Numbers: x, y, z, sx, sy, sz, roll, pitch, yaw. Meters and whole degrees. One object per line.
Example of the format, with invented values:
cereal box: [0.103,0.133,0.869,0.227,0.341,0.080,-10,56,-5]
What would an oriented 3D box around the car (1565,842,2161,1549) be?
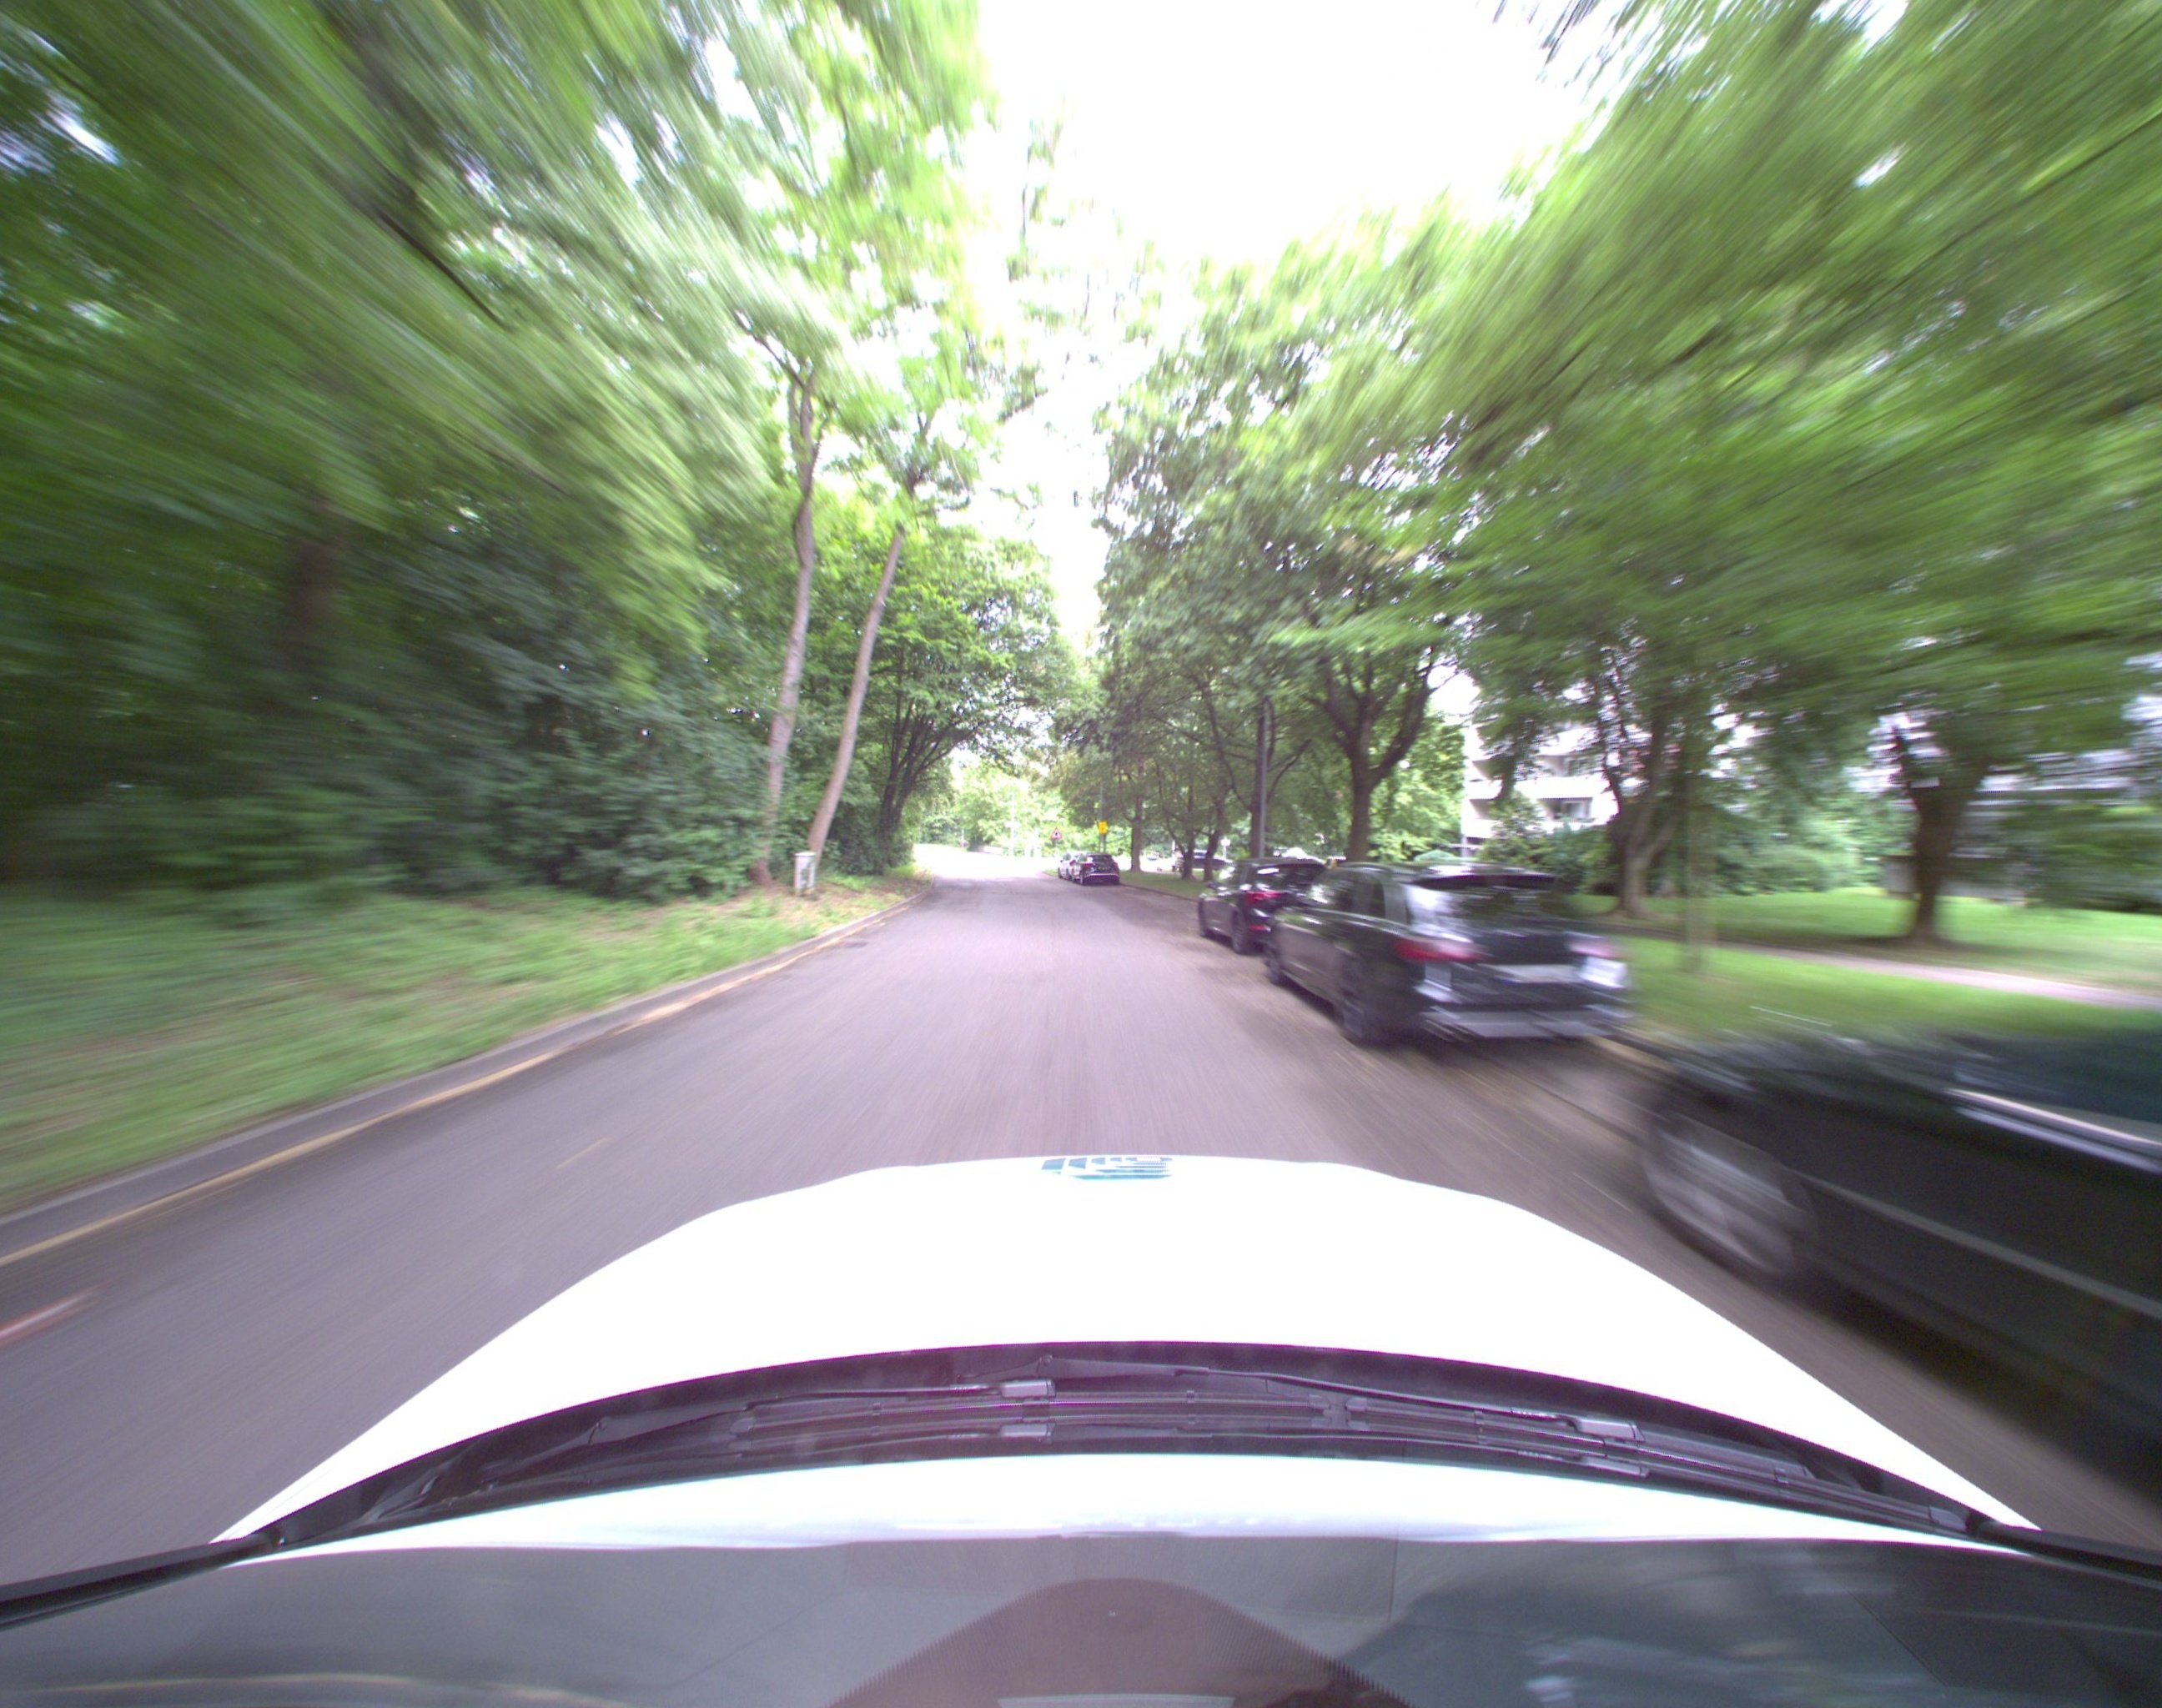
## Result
car: [3.122,0.748,1.604,1.585,1.465,4.312,-3,1,-3]

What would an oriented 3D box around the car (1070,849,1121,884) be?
car: [0.627,0.555,38.814,1.773,1.522,4.172,1,1,-8]

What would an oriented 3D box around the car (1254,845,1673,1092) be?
car: [3.044,0.736,7.790,1.906,1.611,4.736,1,1,2]

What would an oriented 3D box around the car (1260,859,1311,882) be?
car: [15.590,1.231,62.277,3.503,1.570,1.834,1,1,2]

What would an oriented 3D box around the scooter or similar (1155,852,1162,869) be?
scooter or similar: [5.774,0.474,60.659,0.282,1.286,1.105,1,1,-8]

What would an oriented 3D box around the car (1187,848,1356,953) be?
car: [2.987,0.656,13.574,1.679,1.464,3.893,1,1,-4]

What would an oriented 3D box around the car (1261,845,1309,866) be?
car: [20.222,0.113,80.792,4.199,2.013,1.996,1,0,-6]

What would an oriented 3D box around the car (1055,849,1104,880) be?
car: [-0.115,0.504,43.155,1.776,1.522,3.764,1,1,-13]

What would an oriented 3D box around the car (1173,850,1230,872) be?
car: [9.599,0.568,64.982,4.211,1.685,1.797,1,0,-3]

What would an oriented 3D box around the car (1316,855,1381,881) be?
car: [20.486,1.039,62.449,4.384,1.848,1.831,1,1,-2]
